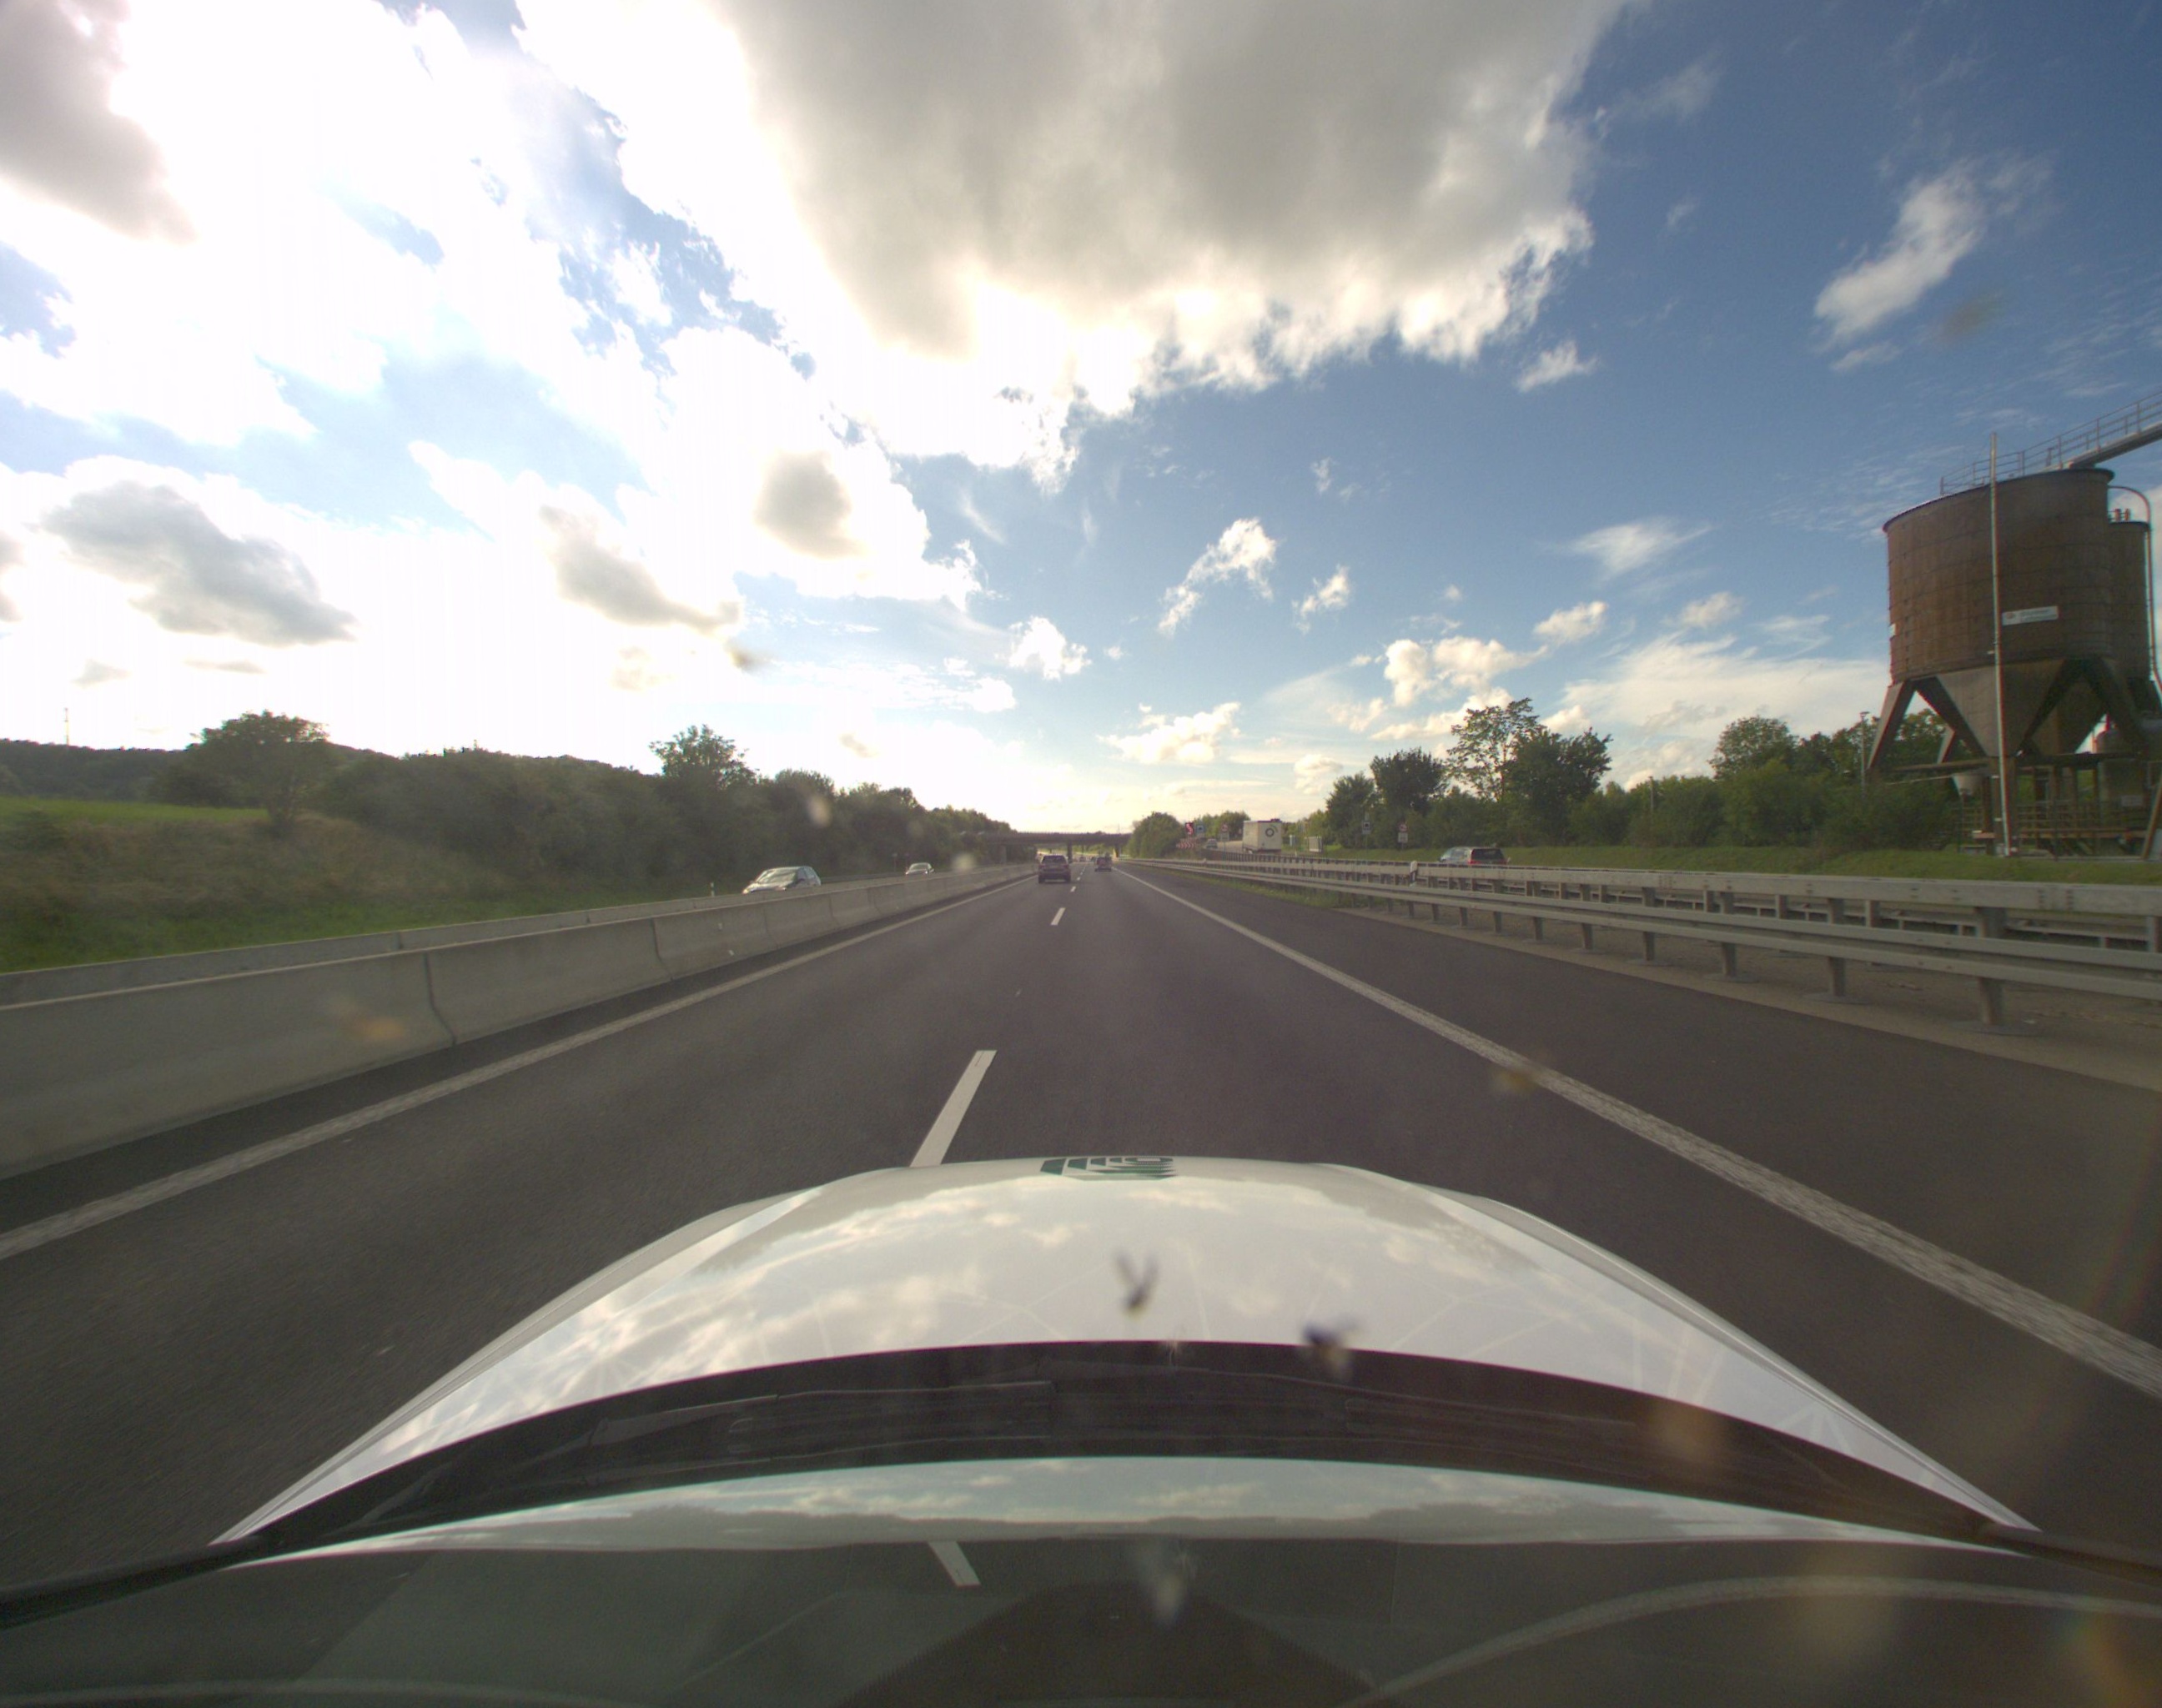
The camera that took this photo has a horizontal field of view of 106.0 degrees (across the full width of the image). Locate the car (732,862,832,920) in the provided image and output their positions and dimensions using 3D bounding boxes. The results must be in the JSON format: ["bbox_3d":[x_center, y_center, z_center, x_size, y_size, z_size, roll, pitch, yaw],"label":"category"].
[{"bbox_3d":[-10.686,1.258,29.470,1.801,1.832,4.398,-3,0,2],"label":"car"}]

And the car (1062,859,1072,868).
[{"bbox_3d":[-3.101,2.132,183.270,1.987,2.013,4.000,-3,0,0],"label":"car"}]

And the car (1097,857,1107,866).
[{"bbox_3d":[4.376,1.594,169.163,1.968,1.779,4.120,-3,0,1],"label":"car"}]

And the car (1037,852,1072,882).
[{"bbox_3d":[-1.530,0.768,48.676,1.743,1.630,3.611,-3,0,2],"label":"car"}]

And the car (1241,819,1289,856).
[{"bbox_3d":[20.143,-1.731,89.637,3.564,3.676,7.549,-3,0,1],"label":"car"}]

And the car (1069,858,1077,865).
[{"bbox_3d":[-2.103,2.076,224.942,1.987,2.013,4.000,-3,0,0],"label":"car"}]

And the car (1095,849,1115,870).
[{"bbox_3d":[2.477,0.568,85.724,1.987,2.081,4.000,-3,0,1],"label":"car"}]

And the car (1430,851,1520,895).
[{"bbox_3d":[17.021,0.796,35.416,1.987,1.717,4.000,-3,0,1],"label":"car"}]

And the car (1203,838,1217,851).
[{"bbox_3d":[20.778,-1.547,131.421,1.984,2.013,4.006,-3,0,5],"label":"car"}]

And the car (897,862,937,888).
[{"bbox_3d":[-11.992,1.506,59.856,1.987,1.717,4.000,-3,0,1],"label":"car"}]
